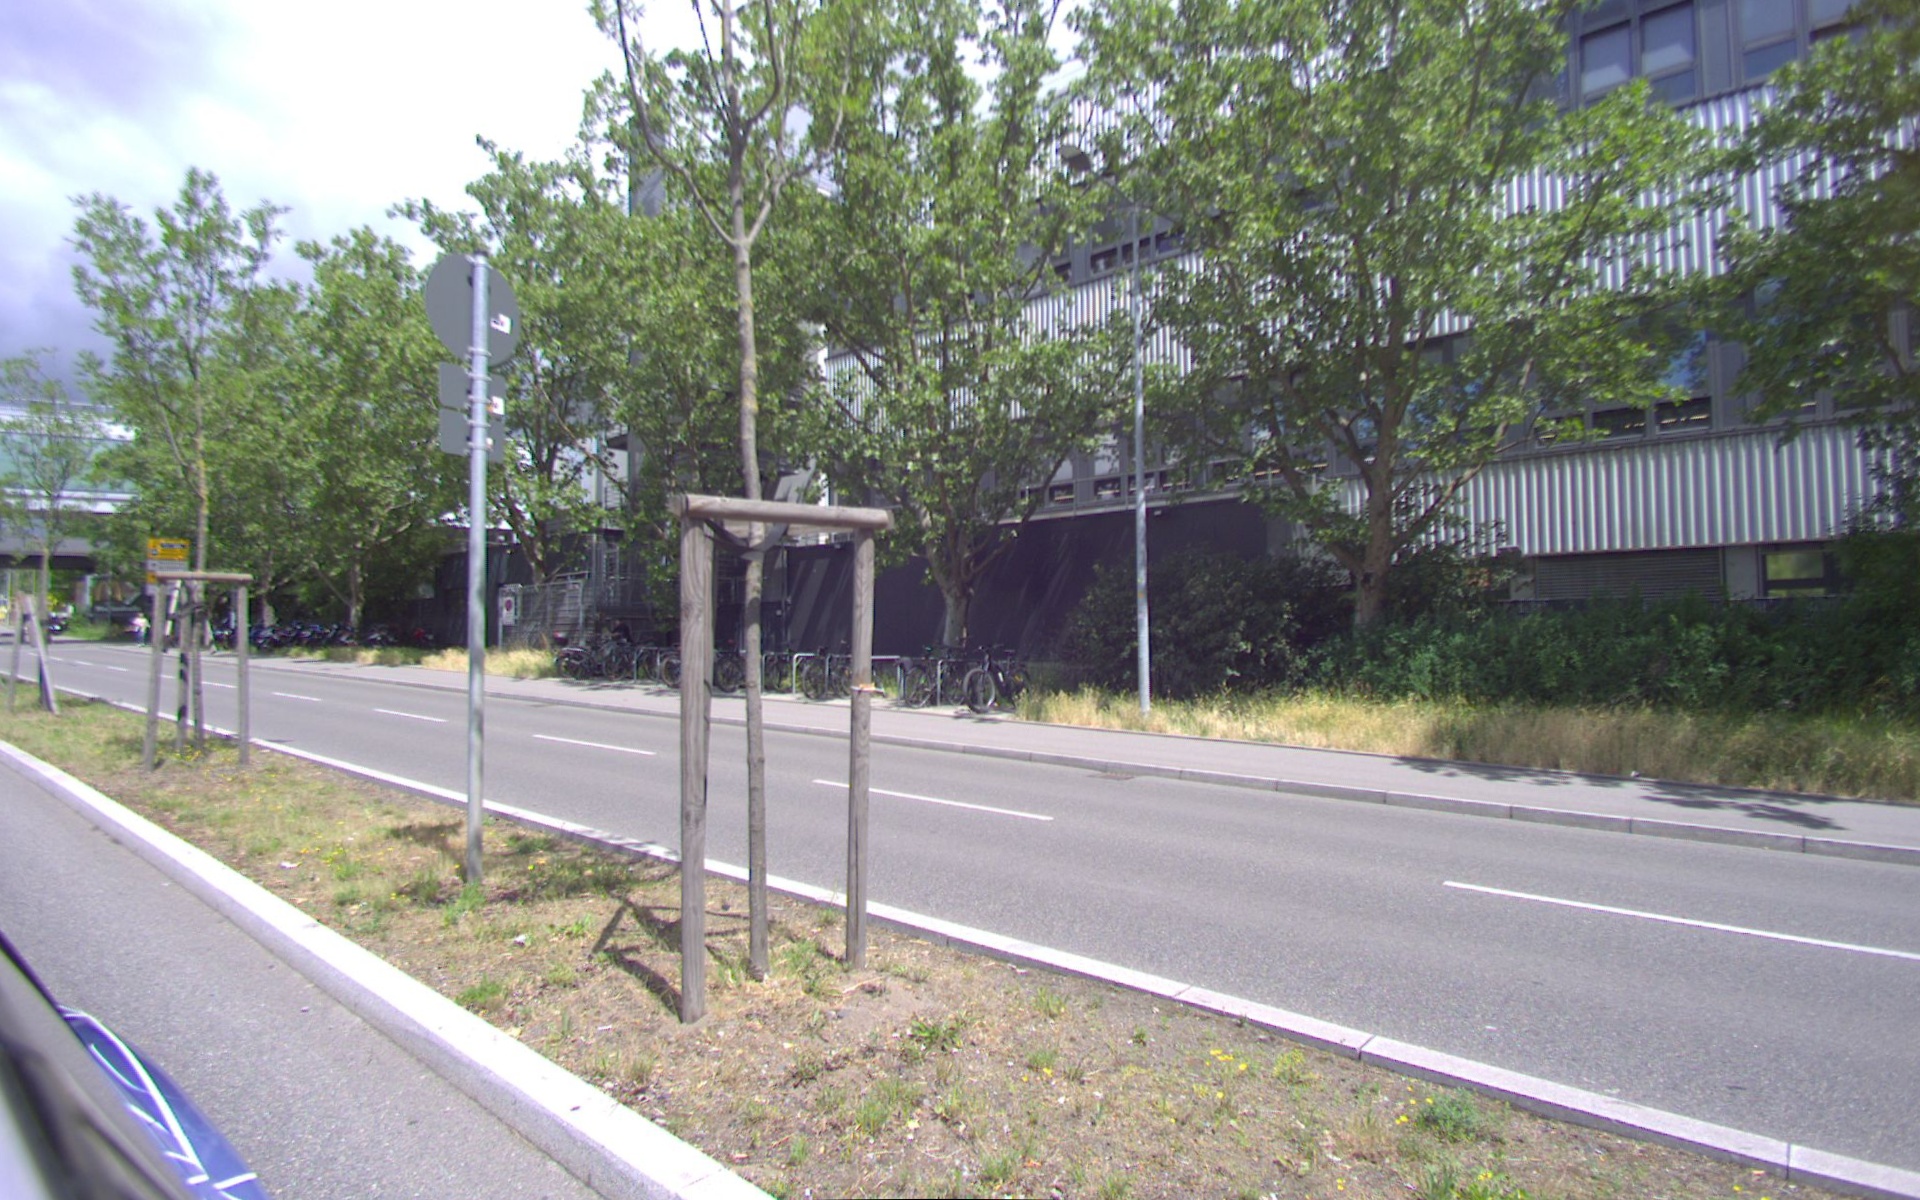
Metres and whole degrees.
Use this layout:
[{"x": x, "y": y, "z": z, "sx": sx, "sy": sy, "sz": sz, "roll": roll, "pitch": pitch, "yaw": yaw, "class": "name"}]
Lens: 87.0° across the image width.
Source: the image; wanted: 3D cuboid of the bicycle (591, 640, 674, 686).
[{"x": -8.188, "y": 1.559, "z": 25.393, "sx": 0.497, "sy": 1.070, "sz": 2.060, "roll": -1, "pitch": -1, "yaw": 38, "class": "bicycle"}]

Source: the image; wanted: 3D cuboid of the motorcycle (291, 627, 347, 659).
[{"x": -27.134, "y": 1.816, "z": 42.842, "sx": 0.655, "sy": 1.219, "sz": 1.857, "roll": -3, "pitch": -1, "yaw": 43, "class": "motorcycle"}]

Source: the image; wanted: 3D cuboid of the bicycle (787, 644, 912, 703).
[{"x": -2.183, "y": 1.442, "z": 20.296, "sx": 2.532, "sy": 1.104, "sz": 0.697, "roll": 2, "pitch": -3, "yaw": -40, "class": "bicycle"}]

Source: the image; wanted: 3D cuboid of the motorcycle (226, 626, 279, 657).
[{"x": -33.091, "y": 1.932, "z": 47.359, "sx": 1.905, "sy": 1.300, "sz": 0.895, "roll": -2, "pitch": -1, "yaw": -29, "class": "motorcycle"}]

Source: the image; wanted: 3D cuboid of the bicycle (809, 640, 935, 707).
[{"x": -1.677, "y": 1.395, "z": 19.679, "sx": 2.533, "sy": 1.166, "sz": 0.645, "roll": 0, "pitch": -1, "yaw": -40, "class": "bicycle"}]

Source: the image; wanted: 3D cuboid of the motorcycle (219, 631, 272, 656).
[{"x": -34.155, "y": 2.073, "z": 48.392, "sx": 1.904, "sy": 1.124, "sz": 0.924, "roll": -2, "pitch": -1, "yaw": -23, "class": "motorcycle"}]

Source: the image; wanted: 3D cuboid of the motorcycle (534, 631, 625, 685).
[{"x": -9.839, "y": 1.474, "z": 26.249, "sx": 0.805, "sy": 1.319, "sz": 2.113, "roll": -1, "pitch": -1, "yaw": 38, "class": "motorcycle"}]

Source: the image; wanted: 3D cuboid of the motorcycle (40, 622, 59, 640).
[{"x": -62.877, "y": 2.124, "z": 69.868, "sx": 2.255, "sy": 1.207, "sz": 0.633, "roll": 0, "pitch": 1, "yaw": 39, "class": "motorcycle"}]

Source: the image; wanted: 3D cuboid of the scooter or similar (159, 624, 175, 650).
[{"x": -39.176, "y": 1.807, "z": 49.990, "sx": 1.478, "sy": 1.245, "sz": 0.350, "roll": 0, "pitch": 0, "yaw": 40, "class": "scooter or similar"}]

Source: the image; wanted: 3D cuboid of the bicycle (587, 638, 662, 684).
[{"x": -8.511, "y": 1.534, "z": 25.738, "sx": 0.422, "sy": 1.083, "sz": 1.905, "roll": -1, "pitch": -1, "yaw": 38, "class": "bicycle"}]

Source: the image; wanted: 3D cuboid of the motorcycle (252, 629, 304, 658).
[{"x": -30.209, "y": 1.906, "z": 44.828, "sx": 1.853, "sy": 1.188, "sz": 0.817, "roll": -2, "pitch": -1, "yaw": -35, "class": "motorcycle"}]

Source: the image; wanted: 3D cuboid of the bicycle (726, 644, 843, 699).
[{"x": -3.701, "y": 1.490, "z": 21.644, "sx": 0.848, "sy": 1.014, "sz": 2.814, "roll": -1, "pitch": -1, "yaw": 31, "class": "bicycle"}]

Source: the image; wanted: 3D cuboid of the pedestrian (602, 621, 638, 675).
[{"x": -10.123, "y": 1.416, "z": 30.124, "sx": 0.744, "sy": 1.563, "sz": 0.822, "roll": 0, "pitch": -1, "yaw": -40, "class": "pedestrian"}]

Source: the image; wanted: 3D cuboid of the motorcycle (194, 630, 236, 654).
[{"x": -38.156, "y": 2.160, "z": 51.822, "sx": 0.776, "sy": 1.131, "sz": 1.574, "roll": -3, "pitch": -1, "yaw": 41, "class": "motorcycle"}]

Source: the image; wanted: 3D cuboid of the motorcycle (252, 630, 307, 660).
[{"x": -29.480, "y": 1.924, "z": 43.848, "sx": 1.855, "sy": 1.188, "sz": 0.816, "roll": -2, "pitch": -1, "yaw": -41, "class": "motorcycle"}]

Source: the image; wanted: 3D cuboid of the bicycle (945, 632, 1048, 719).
[{"x": 0.656, "y": 1.243, "z": 17.319, "sx": 0.489, "sy": 1.374, "sz": 2.144, "roll": -2, "pitch": -2, "yaw": 42, "class": "bicycle"}]

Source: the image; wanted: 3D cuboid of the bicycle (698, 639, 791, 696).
[{"x": -4.649, "y": 1.427, "z": 21.898, "sx": 0.805, "sy": 1.131, "sz": 1.899, "roll": -1, "pitch": -1, "yaw": 38, "class": "bicycle"}]

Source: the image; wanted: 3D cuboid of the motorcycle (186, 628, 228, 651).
[{"x": -39.191, "y": 2.052, "z": 52.667, "sx": 0.773, "sy": 1.131, "sz": 1.579, "roll": -3, "pitch": -1, "yaw": 31, "class": "motorcycle"}]

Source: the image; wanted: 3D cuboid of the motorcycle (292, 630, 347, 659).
[{"x": -26.512, "y": 1.842, "z": 41.879, "sx": 1.853, "sy": 1.093, "sz": 0.796, "roll": -2, "pitch": -1, "yaw": -35, "class": "motorcycle"}]

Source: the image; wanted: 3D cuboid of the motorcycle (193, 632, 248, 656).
[{"x": -35.837, "y": 2.135, "z": 49.088, "sx": 0.917, "sy": 1.124, "sz": 1.919, "roll": 0, "pitch": -3, "yaw": 28, "class": "motorcycle"}]

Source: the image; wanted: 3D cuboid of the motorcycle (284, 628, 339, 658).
[{"x": -27.906, "y": 1.857, "z": 43.546, "sx": 0.698, "sy": 1.188, "sz": 1.857, "roll": -3, "pitch": -1, "yaw": 43, "class": "motorcycle"}]

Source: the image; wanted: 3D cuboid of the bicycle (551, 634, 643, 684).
[{"x": -9.291, "y": 1.492, "z": 25.969, "sx": 0.805, "sy": 1.189, "sz": 2.113, "roll": -1, "pitch": -1, "yaw": 38, "class": "bicycle"}]

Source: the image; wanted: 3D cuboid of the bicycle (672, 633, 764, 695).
[{"x": -5.375, "y": 1.391, "z": 22.573, "sx": 0.805, "sy": 1.292, "sz": 1.899, "roll": -1, "pitch": -1, "yaw": 38, "class": "bicycle"}]

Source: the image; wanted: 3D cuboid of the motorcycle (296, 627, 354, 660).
[{"x": -25.630, "y": 1.747, "z": 40.867, "sx": 1.855, "sy": 1.195, "sz": 0.730, "roll": -2, "pitch": 0, "yaw": -42, "class": "motorcycle"}]

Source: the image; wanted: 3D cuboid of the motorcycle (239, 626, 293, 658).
[{"x": -31.363, "y": 1.892, "z": 45.774, "sx": 1.905, "sy": 1.354, "sz": 0.867, "roll": -2, "pitch": -1, "yaw": -29, "class": "motorcycle"}]

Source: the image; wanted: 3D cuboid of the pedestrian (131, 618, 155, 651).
[{"x": -41.544, "y": 1.731, "z": 51.475, "sx": 0.812, "sy": 1.624, "sz": 0.760, "roll": -1, "pitch": 1, "yaw": 39, "class": "pedestrian"}]

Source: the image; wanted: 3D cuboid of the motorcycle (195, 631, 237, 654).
[{"x": -37.290, "y": 2.130, "z": 50.719, "sx": 0.776, "sy": 1.041, "sz": 1.574, "roll": -3, "pitch": -1, "yaw": 41, "class": "motorcycle"}]

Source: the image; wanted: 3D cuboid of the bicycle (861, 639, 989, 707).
[{"x": -0.628, "y": 1.357, "z": 19.302, "sx": 2.533, "sy": 1.166, "sz": 0.727, "roll": 0, "pitch": -1, "yaw": -40, "class": "bicycle"}]

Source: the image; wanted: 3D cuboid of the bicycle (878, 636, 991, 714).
[{"x": -0.427, "y": 1.312, "z": 18.181, "sx": 0.555, "sy": 1.267, "sz": 2.379, "roll": -2, "pitch": -2, "yaw": 42, "class": "bicycle"}]

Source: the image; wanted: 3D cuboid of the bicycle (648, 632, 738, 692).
[{"x": -6.084, "y": 1.387, "z": 23.140, "sx": 0.805, "sy": 1.292, "sz": 1.899, "roll": -1, "pitch": -1, "yaw": 38, "class": "bicycle"}]

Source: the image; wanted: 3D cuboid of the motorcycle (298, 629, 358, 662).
[{"x": -24.503, "y": 1.747, "z": 39.261, "sx": 1.855, "sy": 1.182, "sz": 0.746, "roll": -2, "pitch": -1, "yaw": -41, "class": "motorcycle"}]

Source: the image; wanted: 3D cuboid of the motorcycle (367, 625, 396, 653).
[{"x": -26.424, "y": 1.802, "z": 46.208, "sx": 1.983, "sy": 1.219, "sz": 0.645, "roll": -3, "pitch": -1, "yaw": 45, "class": "motorcycle"}]

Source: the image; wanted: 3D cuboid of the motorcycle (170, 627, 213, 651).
[{"x": -40.826, "y": 2.081, "z": 53.774, "sx": 1.721, "sy": 1.180, "sz": 0.777, "roll": -2, "pitch": -1, "yaw": -42, "class": "motorcycle"}]

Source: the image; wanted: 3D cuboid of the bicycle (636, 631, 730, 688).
[{"x": -6.642, "y": 1.400, "z": 24.349, "sx": 0.805, "sy": 1.292, "sz": 2.113, "roll": -1, "pitch": -1, "yaw": 38, "class": "bicycle"}]
